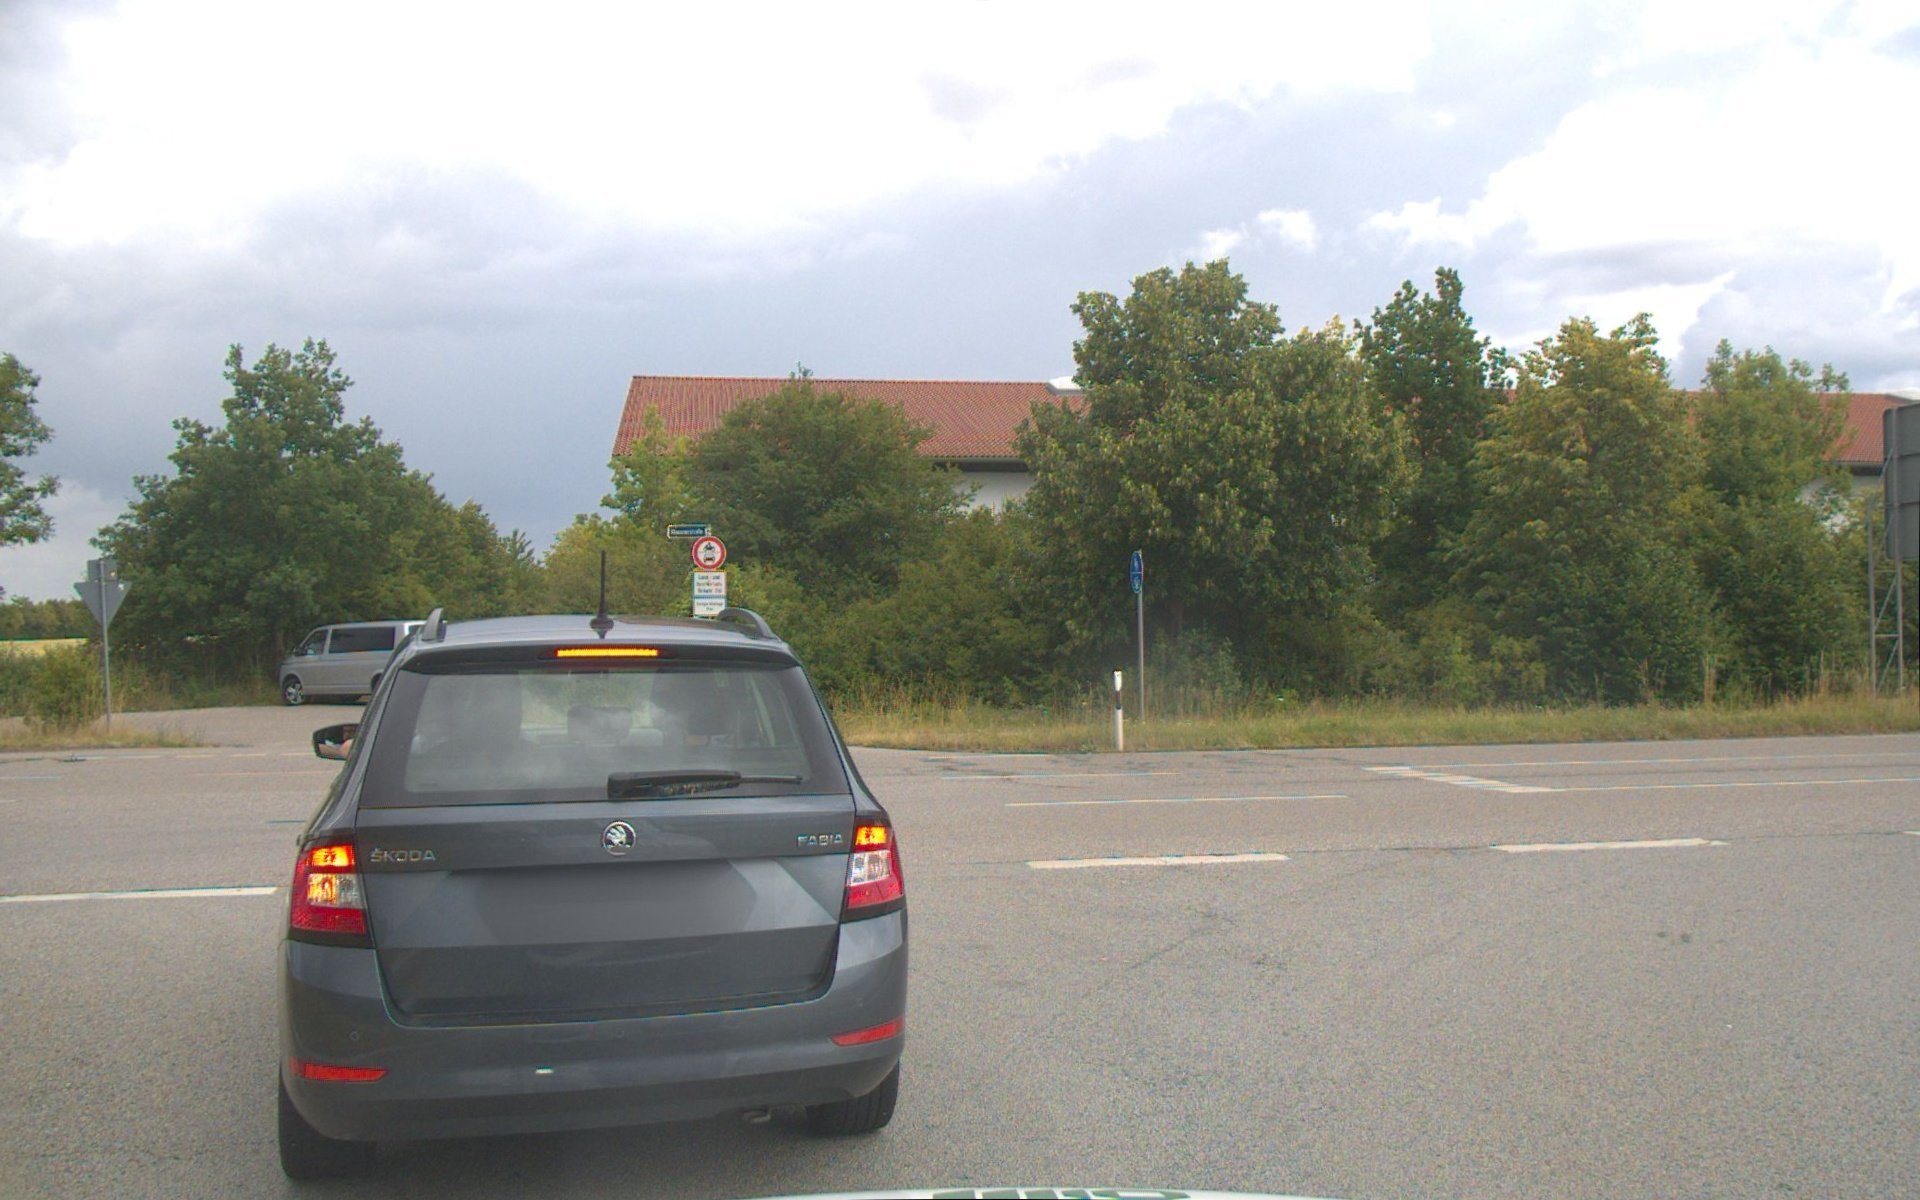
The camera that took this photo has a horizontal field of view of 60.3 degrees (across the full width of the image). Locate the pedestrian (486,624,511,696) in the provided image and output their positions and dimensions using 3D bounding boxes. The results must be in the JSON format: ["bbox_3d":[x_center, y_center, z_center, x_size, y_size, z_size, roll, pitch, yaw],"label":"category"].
[{"bbox_3d":[-11.636,1.497,41.691,0.480,1.777,0.642,-1,-1,-5],"label":"pedestrian"}]

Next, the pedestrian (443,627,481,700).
[{"bbox_3d":[-12.249,1.556,40.688,0.687,1.753,0.732,-1,-1,-2],"label":"pedestrian"}]

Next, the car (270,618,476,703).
[{"bbox_3d":[-14.408,1.479,40.526,4.992,1.919,2.108,-2,0,32],"label":"car"}]

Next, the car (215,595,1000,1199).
[{"bbox_3d":[-1.250,0.748,5.615,1.685,1.473,4.100,0,-1,-15],"label":"car"}]

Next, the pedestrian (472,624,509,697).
[{"bbox_3d":[-11.370,1.454,40.049,0.709,1.753,0.791,-1,-1,-5],"label":"pedestrian"}]
